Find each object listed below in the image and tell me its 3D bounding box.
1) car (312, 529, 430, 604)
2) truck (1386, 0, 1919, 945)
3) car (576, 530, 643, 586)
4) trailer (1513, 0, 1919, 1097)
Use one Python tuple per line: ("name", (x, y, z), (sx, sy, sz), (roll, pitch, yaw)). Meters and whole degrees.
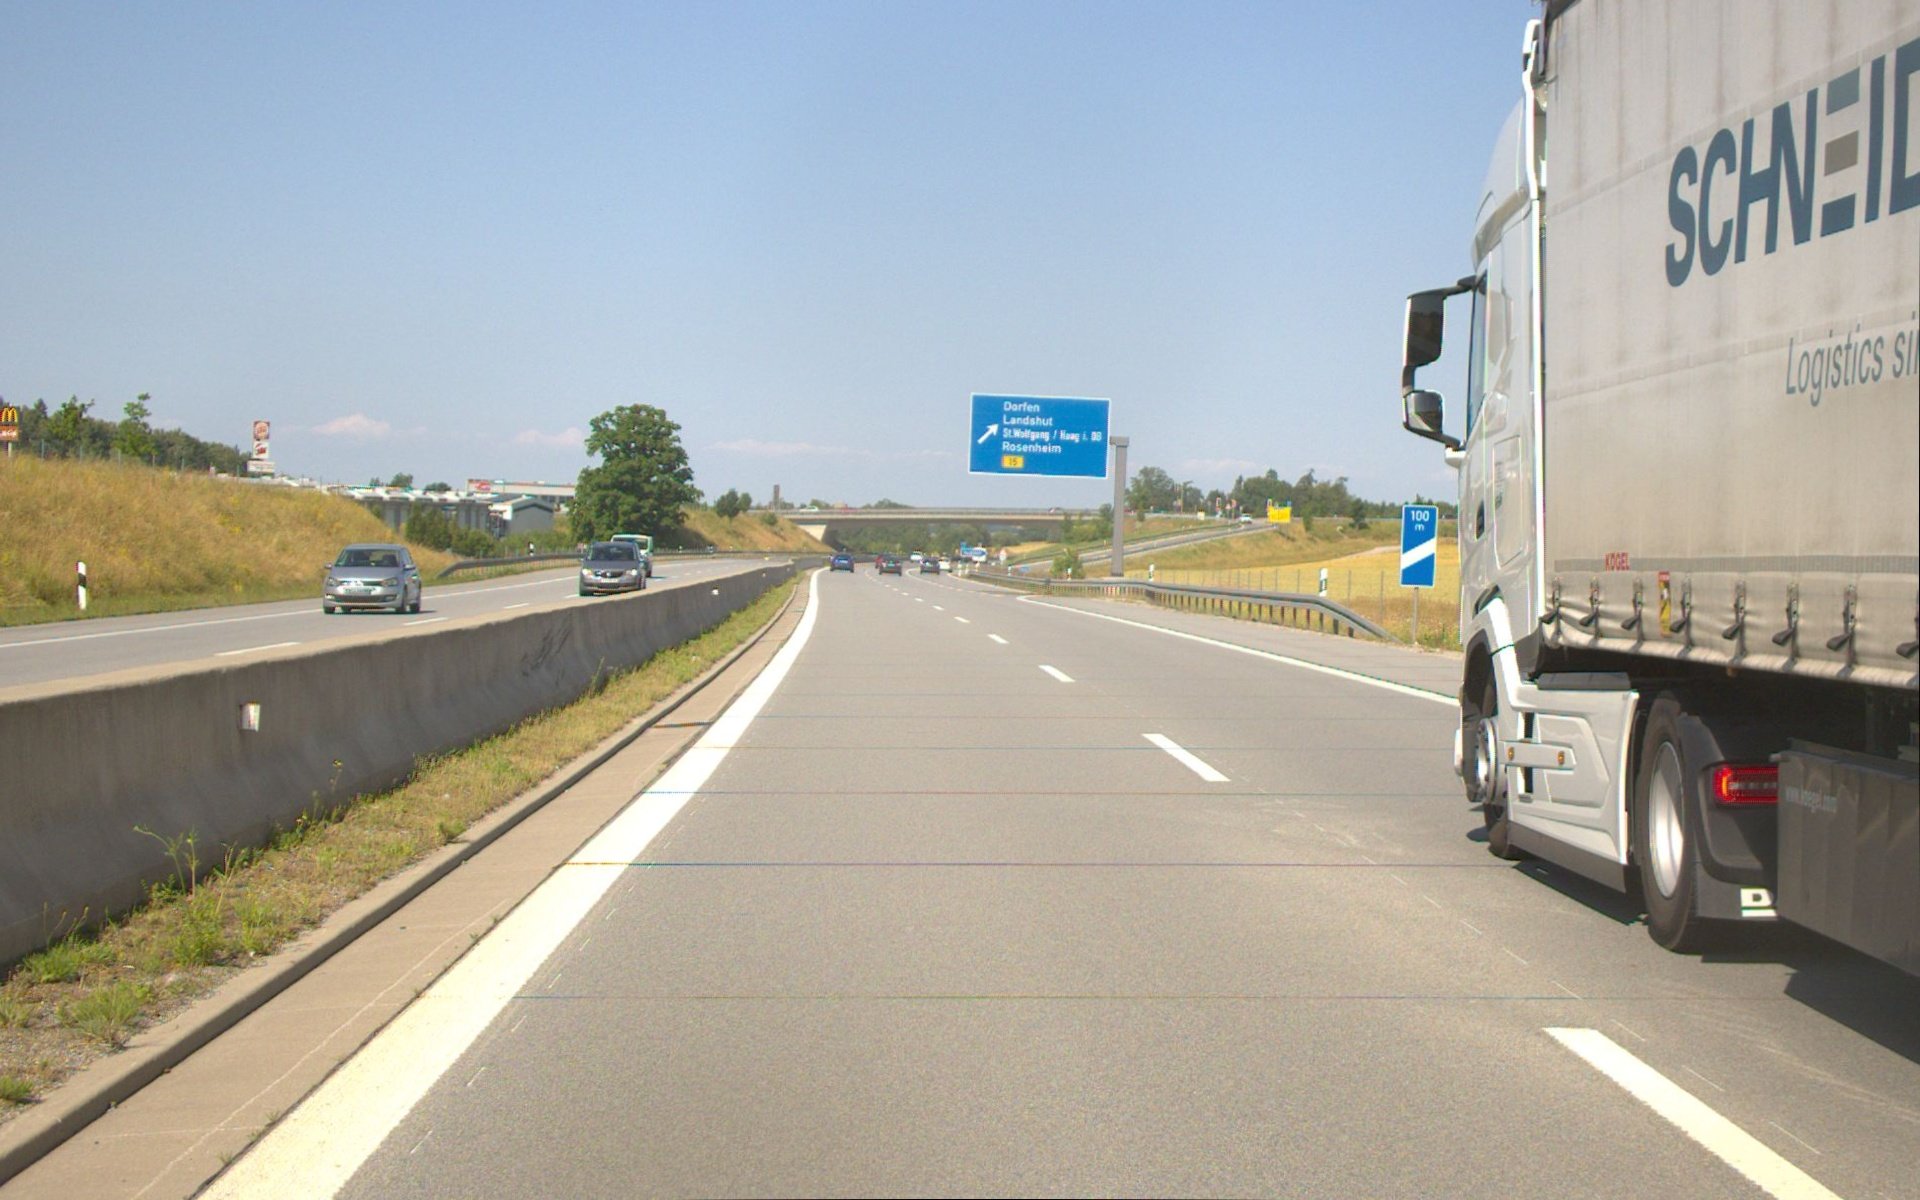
("car", (-12.290, -0.723, 71.961), (1.879, 1.497, 4.566), (-1, 1, -3))
("truck", (4.033, -0.774, 16.156), (3.082, 4.000, 6.190), (-1, 1, -2))
("car", (-10.289, -1.238, 101.048), (1.879, 1.570, 4.566), (1, 1, -5))
("trailer", (4.256, -0.747, 7.947), (3.176, 4.279, 15.461), (-1, 1, -1))
